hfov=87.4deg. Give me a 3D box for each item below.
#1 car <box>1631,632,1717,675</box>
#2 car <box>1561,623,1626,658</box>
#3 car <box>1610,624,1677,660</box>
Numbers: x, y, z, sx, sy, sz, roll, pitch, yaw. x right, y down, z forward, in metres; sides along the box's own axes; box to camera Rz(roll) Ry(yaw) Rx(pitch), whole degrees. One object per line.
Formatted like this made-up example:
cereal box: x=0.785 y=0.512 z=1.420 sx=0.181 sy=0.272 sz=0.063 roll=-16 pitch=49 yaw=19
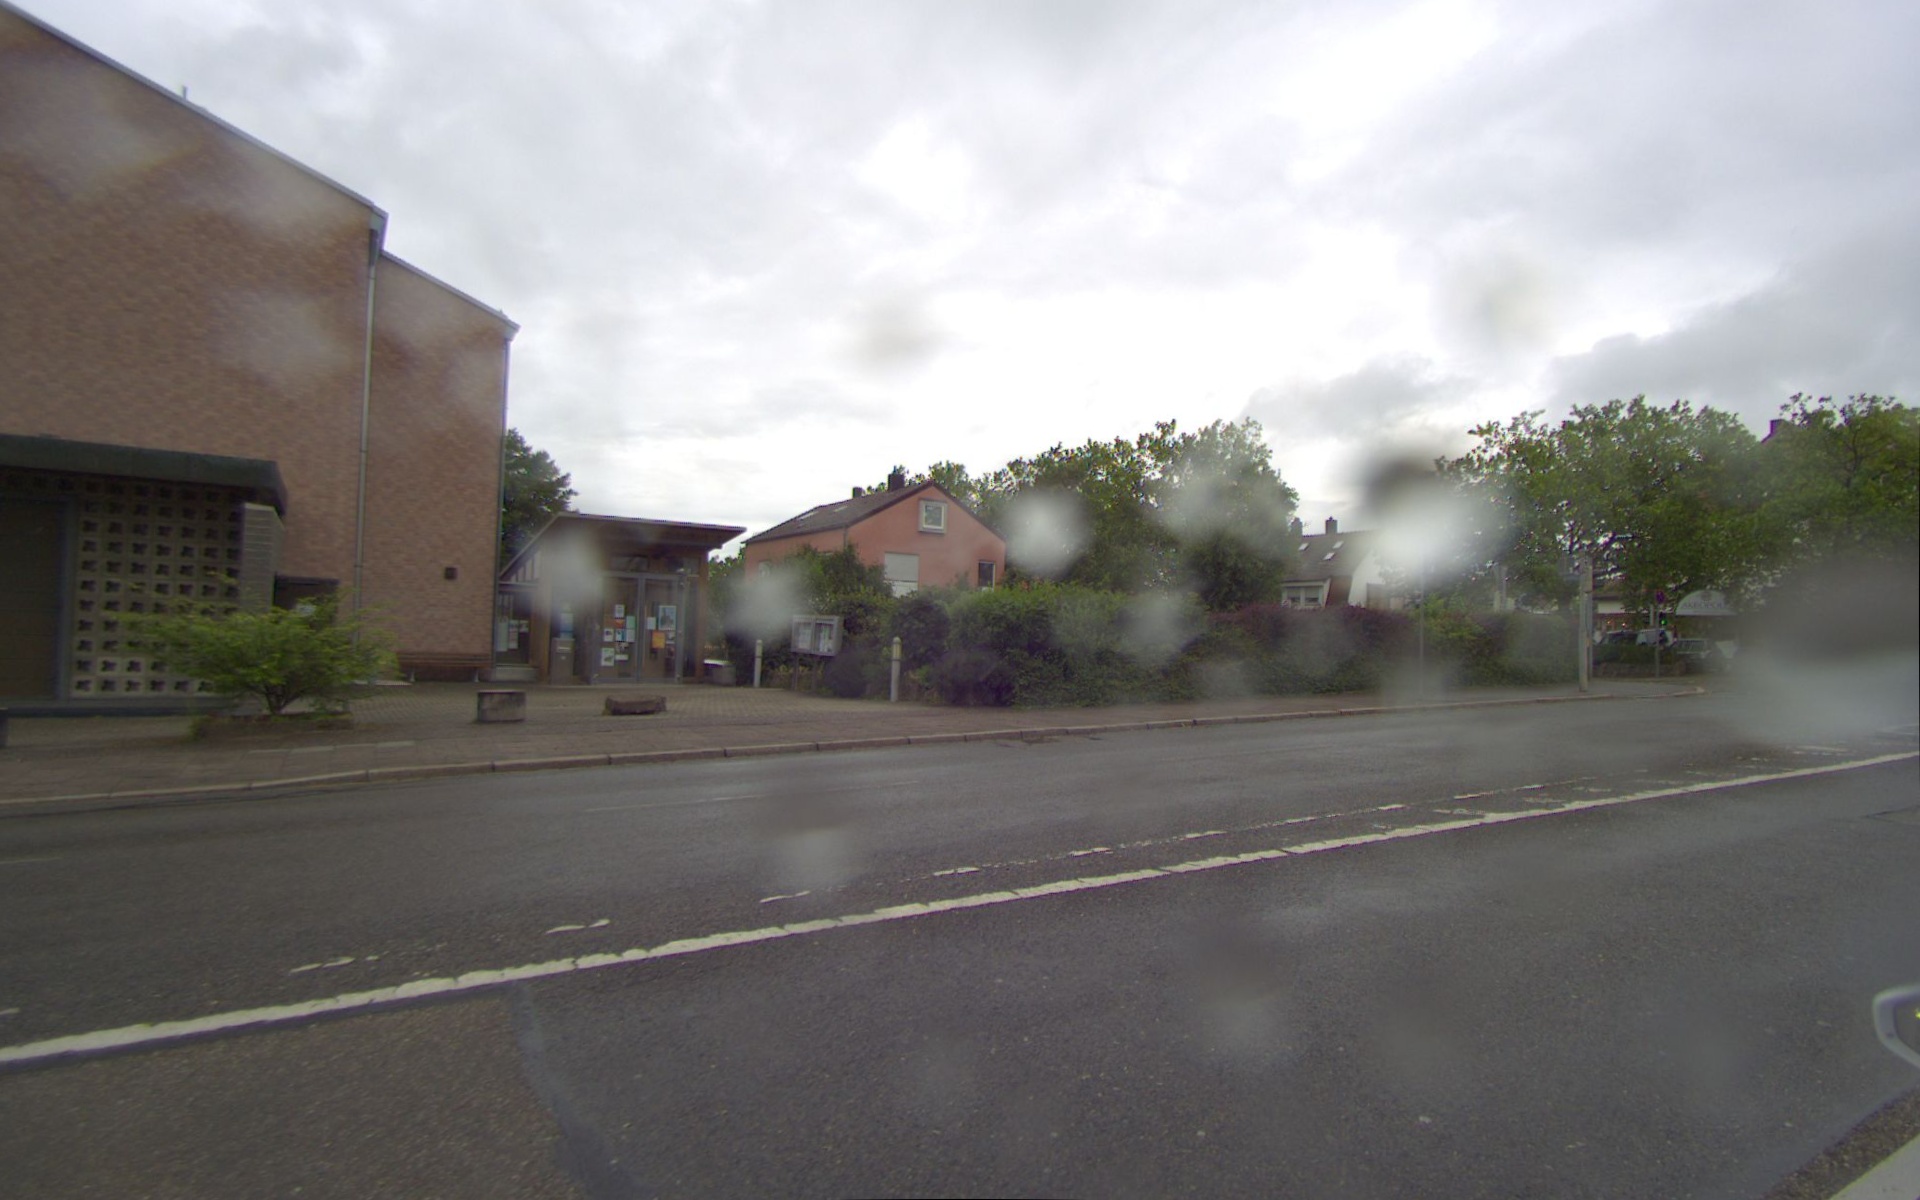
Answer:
car: x=31.916 y=2.341 z=44.889 sx=3.955 sy=1.573 sz=1.798 roll=-3 pitch=2 yaw=-32
car: x=39.621 y=2.544 z=62.778 sx=3.959 sy=2.040 sz=1.981 roll=2 pitch=0 yaw=-34
car: x=41.249 y=2.519 z=60.591 sx=3.959 sy=2.040 sz=1.981 roll=2 pitch=0 yaw=-34
